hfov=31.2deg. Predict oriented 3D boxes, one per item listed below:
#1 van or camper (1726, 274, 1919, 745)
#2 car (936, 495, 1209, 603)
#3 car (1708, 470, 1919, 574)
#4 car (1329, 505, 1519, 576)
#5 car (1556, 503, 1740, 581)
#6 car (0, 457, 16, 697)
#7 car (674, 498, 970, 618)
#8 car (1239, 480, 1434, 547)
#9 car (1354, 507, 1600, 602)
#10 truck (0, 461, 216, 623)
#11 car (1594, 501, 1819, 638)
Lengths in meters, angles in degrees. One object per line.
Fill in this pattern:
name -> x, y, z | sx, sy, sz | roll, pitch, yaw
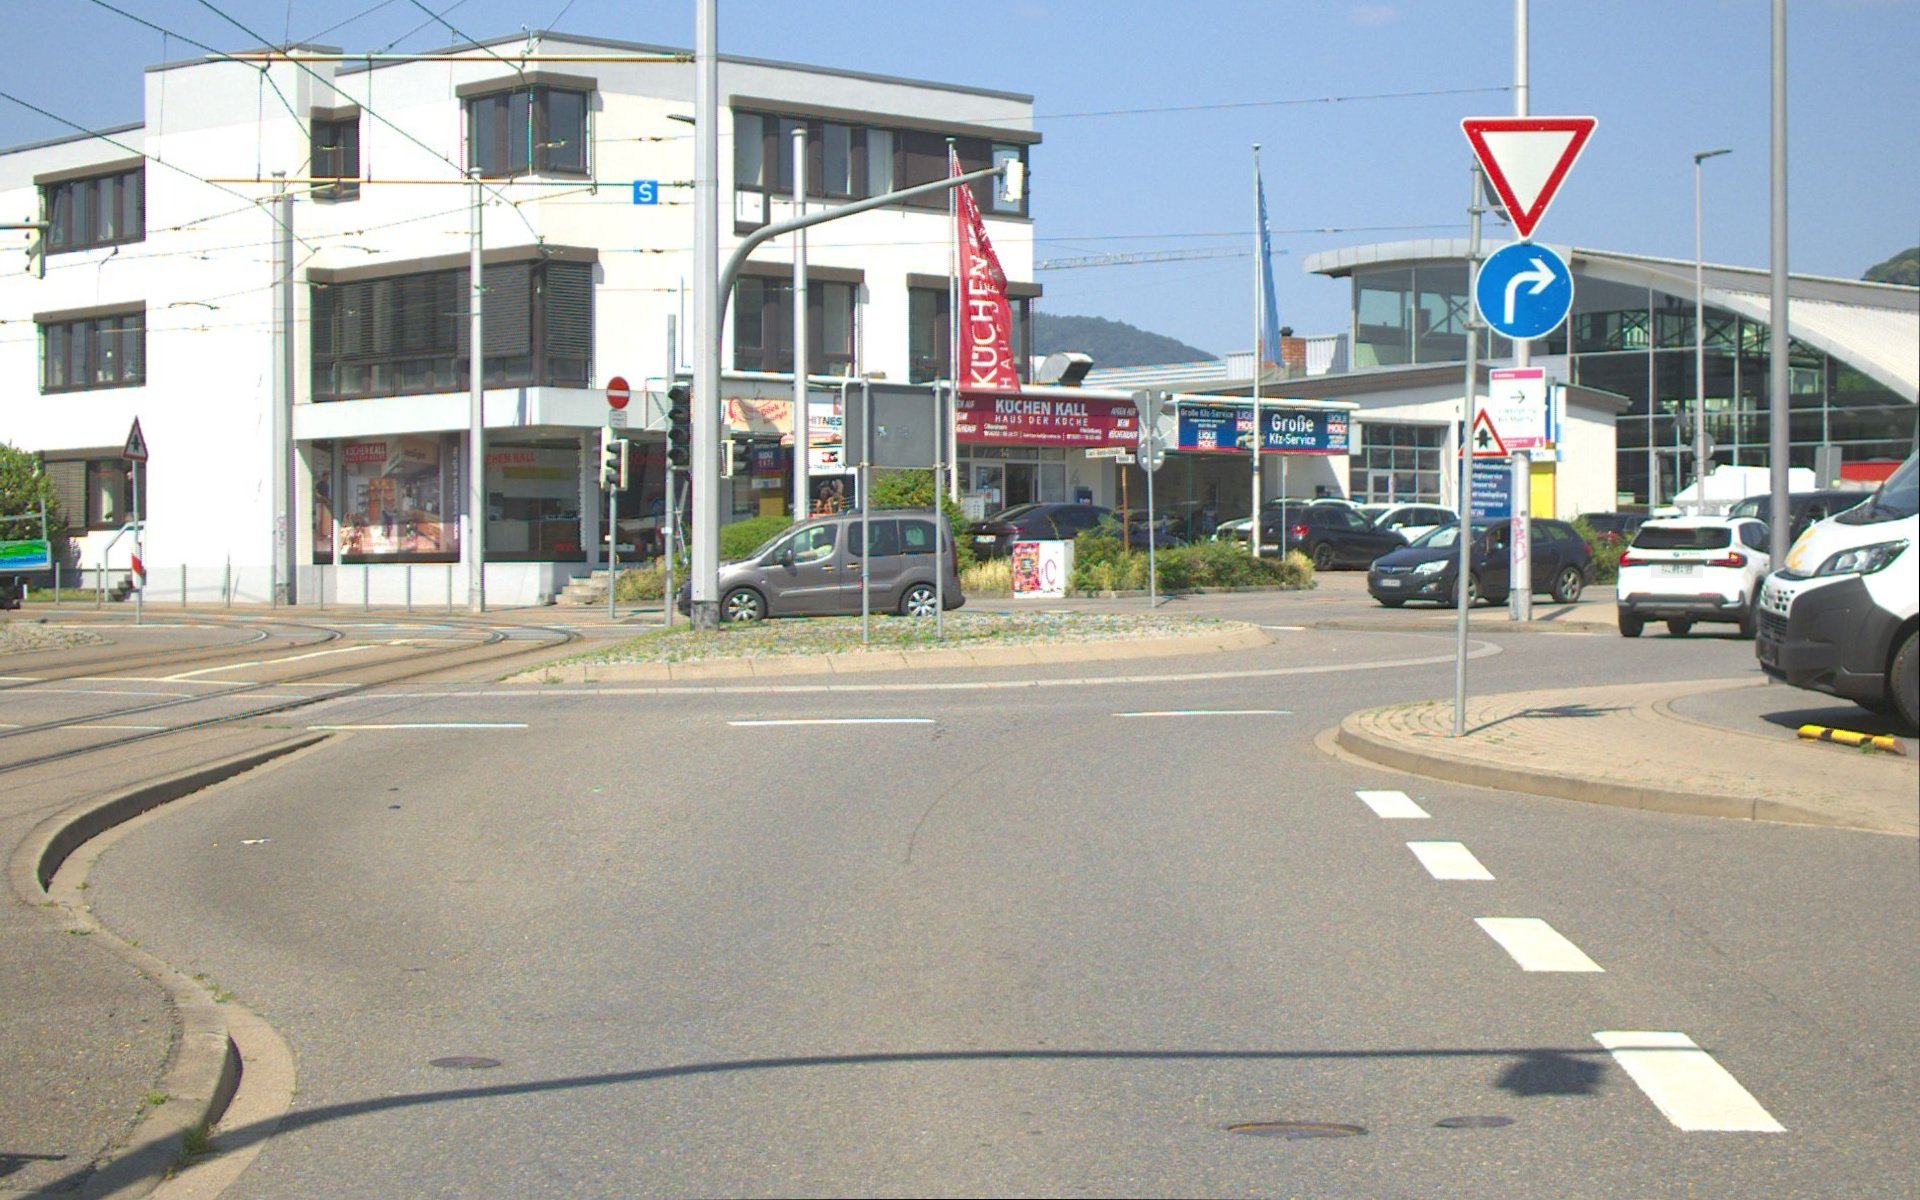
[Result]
van or camper -> 7.832, -0.596, 21.152 | 5.811, 2.764, 2.091 | -1, 2, 4
car -> 2.168, -0.984, 64.924 | 5.266, 1.959, 1.965 | -1, 2, -42
car -> 16.353, -1.517, 65.194 | 2.097, 1.903, 4.627 | 2, 3, 44
car -> 11.007, -1.397, 81.276 | 1.885, 1.583, 4.915 | -2, 0, 44
car -> 14.865, -1.264, 74.193 | 3.989, 1.612, 1.999 | -2, 2, -44
car -> -10.567, -0.211, 29.557 | 5.013, 2.007, 2.164 | 1, 1, 38
car -> -2.154, -0.655, 53.008 | 4.394, 1.812, 1.990 | 0, 1, -8
car -> 8.226, -1.881, 74.923 | 2.031, 1.422, 4.306 | 1, 2, 44
car -> 8.789, -0.783, 58.265 | 4.231, 1.550, 1.968 | -1, 2, -44
truck -> -14.379, -0.856, 50.527 | 6.368, 2.329, 2.210 | -1, 1, -32
car -> 10.067, -0.437, 46.111 | 1.996, 1.727, 4.558 | 0, 1, 25
